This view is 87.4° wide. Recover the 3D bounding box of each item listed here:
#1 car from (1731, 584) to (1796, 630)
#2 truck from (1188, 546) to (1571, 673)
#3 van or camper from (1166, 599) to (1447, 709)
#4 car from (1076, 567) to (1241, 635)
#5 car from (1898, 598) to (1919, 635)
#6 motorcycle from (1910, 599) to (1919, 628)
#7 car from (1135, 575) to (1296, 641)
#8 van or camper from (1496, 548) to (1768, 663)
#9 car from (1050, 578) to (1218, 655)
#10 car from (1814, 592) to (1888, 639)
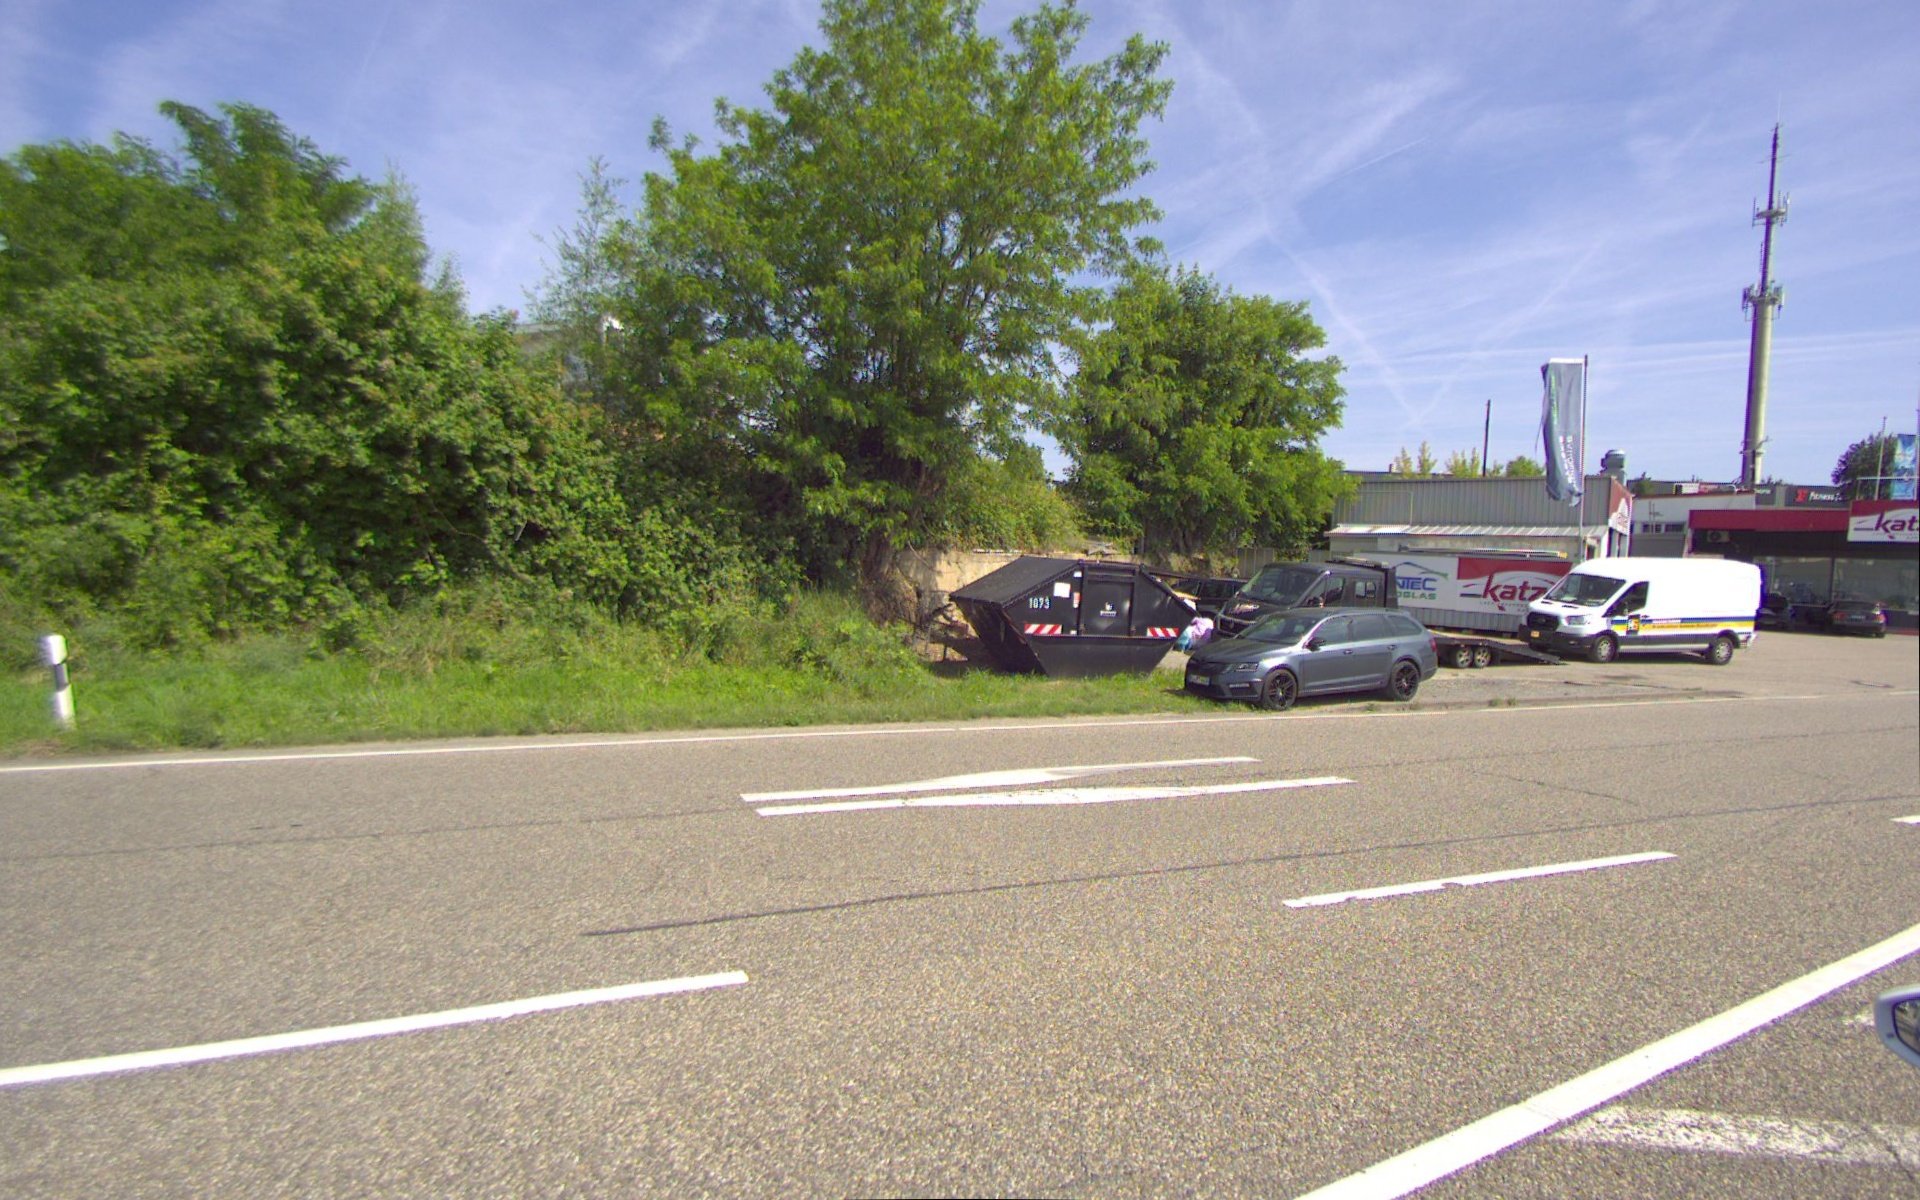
[{"bbox_3d":[33.161,0.257,41.535,1.830,1.525,3.984,7,7,37],"label":"car"},{"bbox_3d":[9.384,0.207,22.210,8.678,2.328,2.324,1,6,-24],"label":"truck"},{"bbox_3d":[5.694,0.838,16.438,4.406,1.545,1.635,1,2,-25],"label":"van or camper"},{"bbox_3d":[4.867,-0.010,24.904,3.621,1.489,1.729,3,2,44],"label":"car"},{"bbox_3d":[46.250,0.867,47.643,1.798,1.696,4.114,9,4,35],"label":"car"},{"bbox_3d":[42.952,0.620,44.749,0.760,1.278,2.045,2,1,40],"label":"motorcycle"},{"bbox_3d":[6.516,0.166,25.868,3.621,1.489,1.729,3,2,44],"label":"car"},{"bbox_3d":[16.752,0.132,25.121,5.850,2.533,2.154,1,5,-15],"label":"van or camper"},{"bbox_3d":[3.935,0.327,23.225,1.701,1.531,3.632,0,2,-37],"label":"car"},{"bbox_3d":[35.484,0.564,40.094,1.830,1.525,4.377,6,6,38],"label":"car"}]
